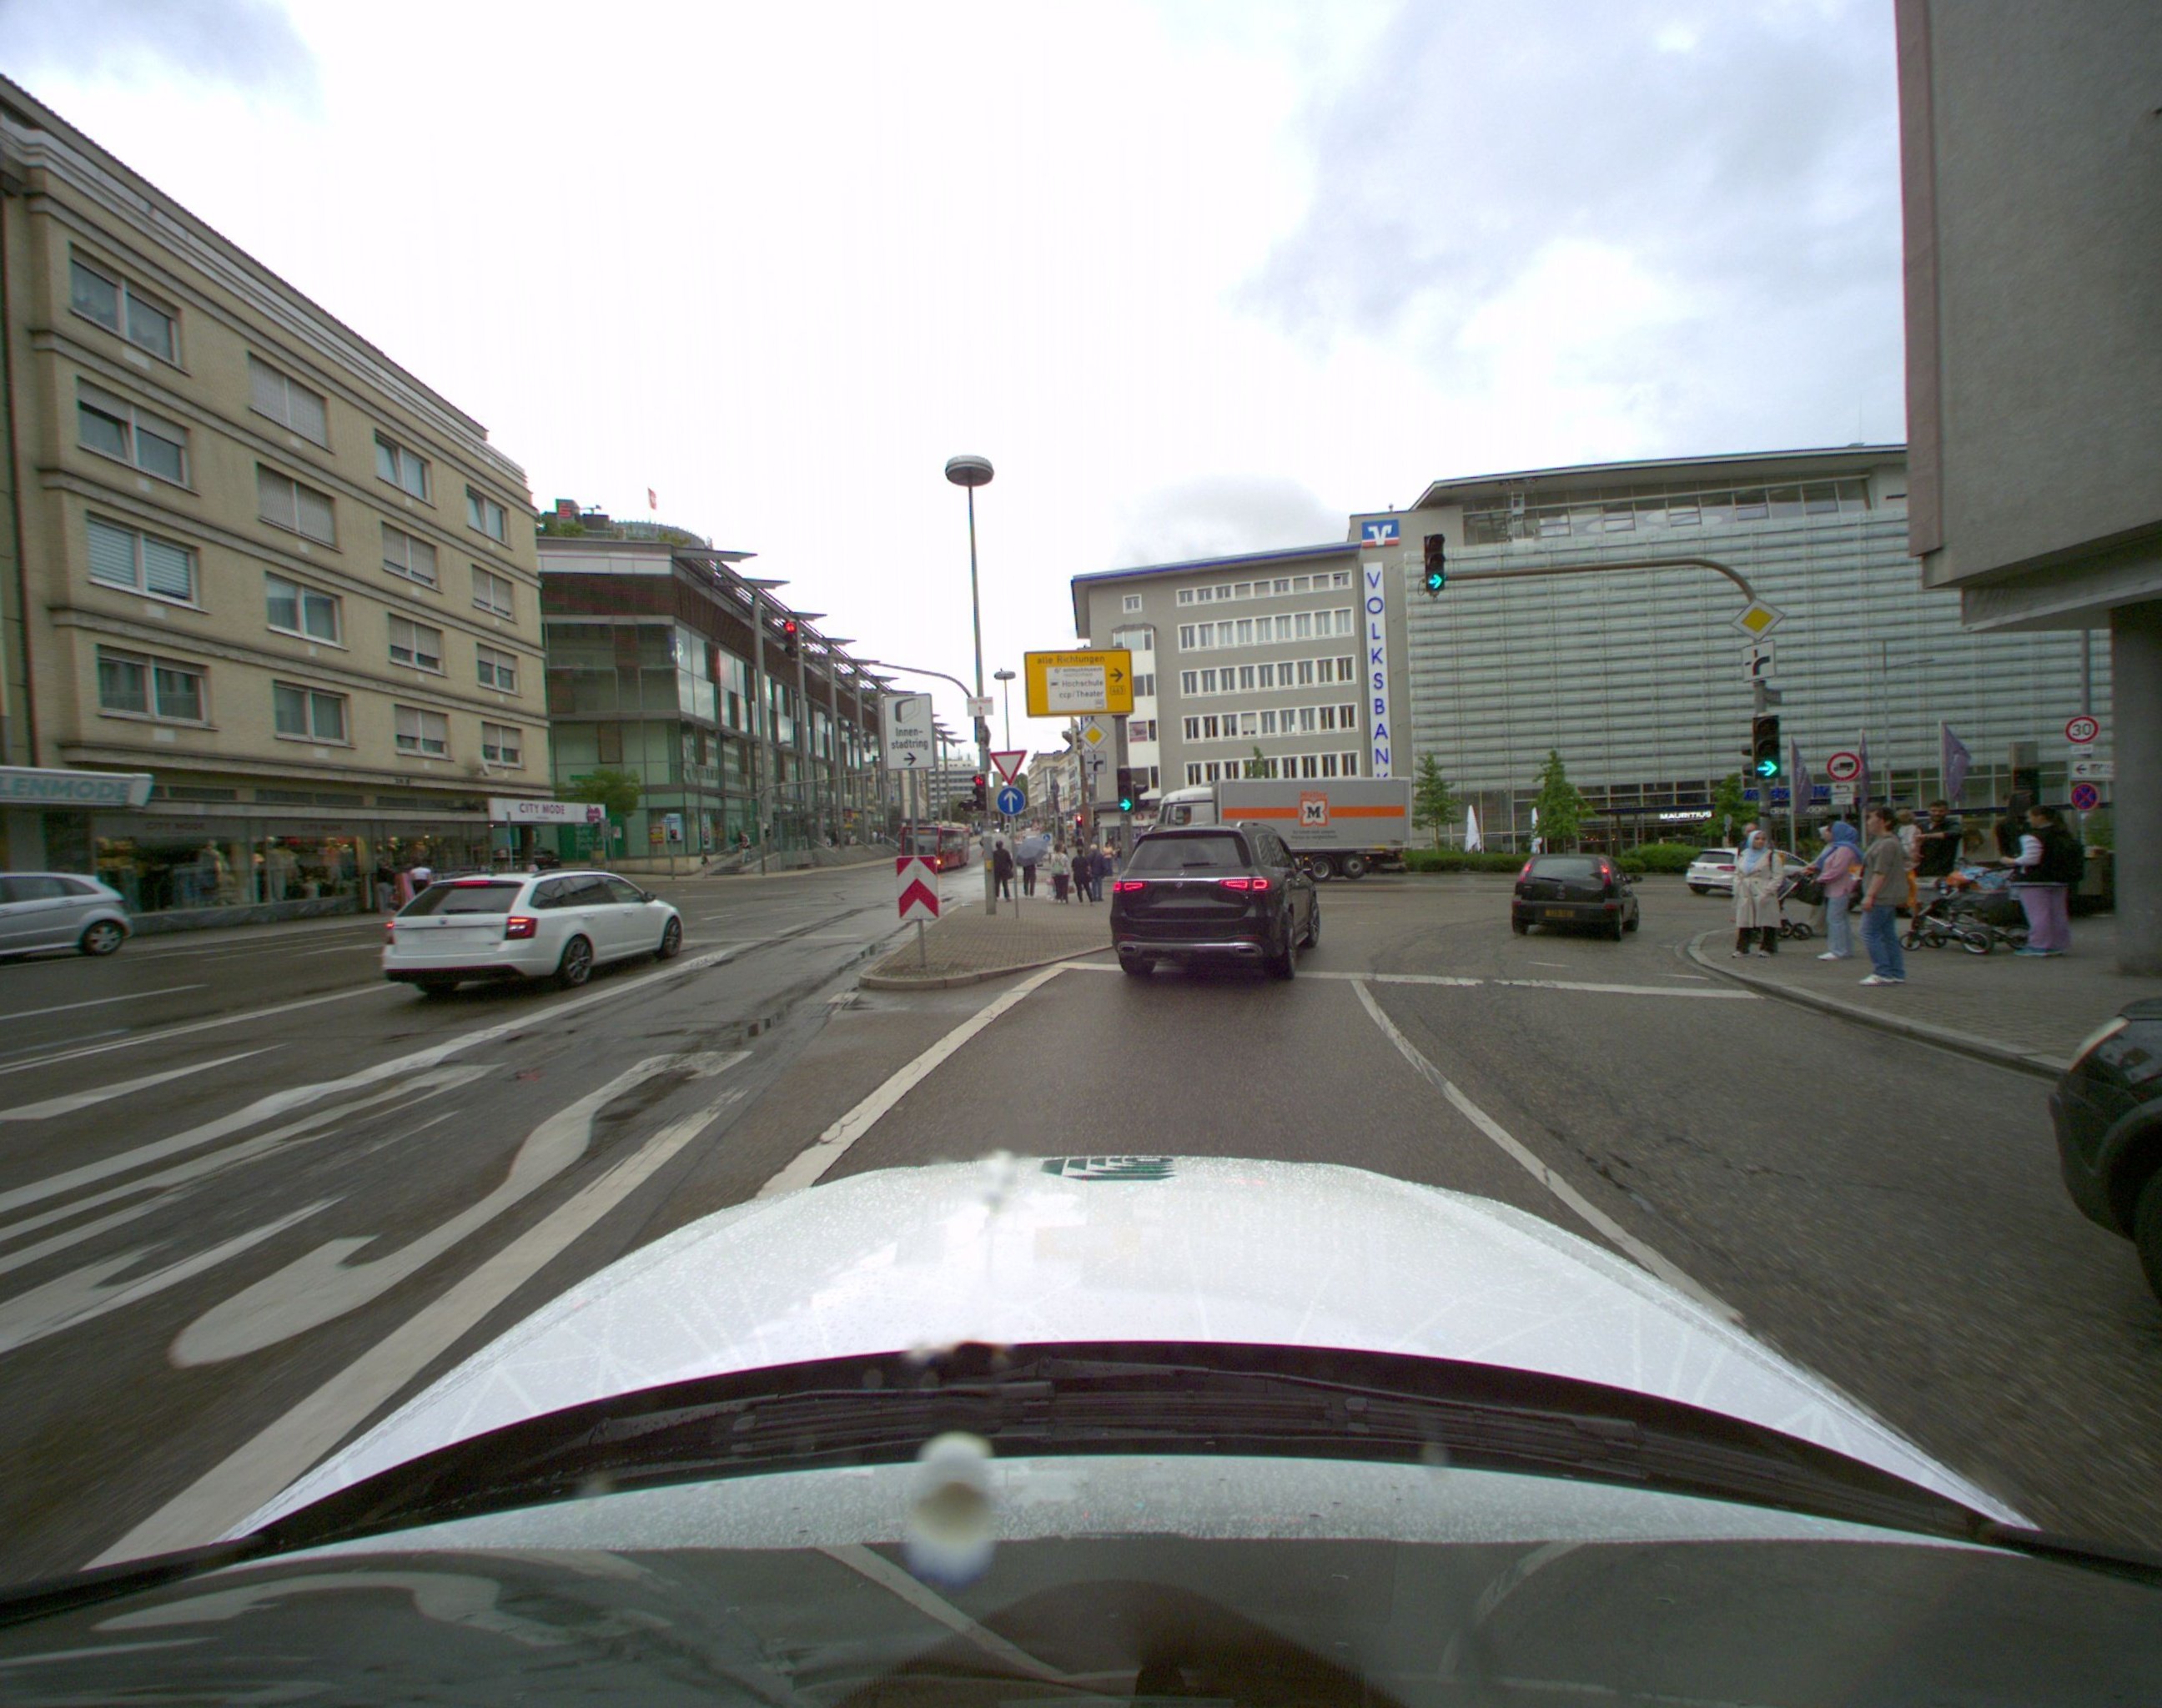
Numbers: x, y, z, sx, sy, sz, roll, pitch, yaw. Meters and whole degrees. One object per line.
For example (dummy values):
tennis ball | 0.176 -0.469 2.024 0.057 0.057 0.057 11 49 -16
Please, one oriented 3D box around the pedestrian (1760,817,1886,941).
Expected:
pedestrian | 10.946 0.360 12.063 1.028 1.722 0.841 -4 0 14

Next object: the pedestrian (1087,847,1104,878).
pedestrian | 0.638 0.375 36.045 0.629 1.339 0.586 0 0 -8

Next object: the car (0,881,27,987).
car | -15.793 1.155 9.104 1.779 1.445 4.754 -1 1 0

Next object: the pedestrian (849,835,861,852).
pedestrian | -23.538 -1.098 84.782 1.038 1.713 1.005 -1 0 -8

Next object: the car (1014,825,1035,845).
car | -10.000 -3.341 144.657 2.431 3.465 6.167 0 1 8

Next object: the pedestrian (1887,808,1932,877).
pedestrian | 10.510 -0.146 10.333 0.218 0.847 0.443 0 0 18

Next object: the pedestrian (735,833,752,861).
pedestrian | -23.988 -0.483 57.889 0.873 1.980 0.849 -1 0 -3

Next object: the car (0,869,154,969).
car | -18.869 1.126 13.589 1.843 1.550 4.396 0 1 -3

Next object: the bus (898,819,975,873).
bus | -10.137 -0.551 59.661 2.912 3.320 18.464 -1 0 -2

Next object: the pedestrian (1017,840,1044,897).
pedestrian | -1.526 0.444 24.612 0.753 1.692 0.694 0 -1 2

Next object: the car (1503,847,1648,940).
car | 9.000 0.643 14.685 1.700 1.420 3.793 1 0 39

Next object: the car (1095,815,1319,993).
car | 1.951 0.447 10.875 2.070 1.816 4.817 0 1 19

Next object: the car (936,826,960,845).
car | -14.743 -2.041 90.556 2.239 2.034 5.347 0 1 -6

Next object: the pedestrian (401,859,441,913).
pedestrian | -20.337 0.962 25.088 0.765 1.628 0.850 -1 0 44

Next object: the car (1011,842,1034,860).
car | -5.100 -0.276 71.293 1.732 1.527 3.998 0 1 -1

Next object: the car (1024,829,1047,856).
car | -5.218 -1.274 93.196 2.440 2.957 6.143 0 1 -5

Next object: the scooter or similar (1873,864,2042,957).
scooter or similar | 10.263 0.654 9.587 0.768 0.986 1.047 -3 -3 -3

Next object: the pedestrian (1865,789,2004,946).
pedestrian | 10.821 0.178 10.356 0.832 1.865 0.658 -5 -3 1

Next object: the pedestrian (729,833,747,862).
pedestrian | -23.977 -0.478 56.926 0.879 1.980 0.974 -1 0 -3

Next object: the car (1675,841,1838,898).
car | 20.711 0.415 25.004 3.995 1.573 1.946 -1 2 -16

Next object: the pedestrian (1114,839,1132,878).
pedestrian | 1.862 0.201 36.028 0.777 1.689 0.640 0 0 6

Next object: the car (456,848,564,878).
car | -30.227 0.468 43.249 4.287 1.546 1.798 0 1 -13

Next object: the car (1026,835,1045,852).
car | -4.857 -1.102 86.652 1.858 1.826 4.097 0 1 -5

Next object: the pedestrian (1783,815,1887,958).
pedestrian | 9.066 0.400 9.823 0.736 1.635 0.600 -7 -4 39

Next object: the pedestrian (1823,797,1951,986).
pedestrian | 7.681 0.348 7.803 0.620 1.692 0.787 -4 -2 33

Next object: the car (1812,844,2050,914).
car | 20.885 0.565 20.134 3.977 1.573 1.955 0 2 -3

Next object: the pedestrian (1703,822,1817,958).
pedestrian | 8.701 0.463 10.472 0.538 1.637 0.837 -5 -3 -3

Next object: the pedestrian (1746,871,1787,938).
pedestrian | 10.704 0.779 12.724 0.258 0.999 0.474 -7 -2 20

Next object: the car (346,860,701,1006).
car | -7.091 0.867 11.115 1.788 1.415 4.626 -2 1 -3

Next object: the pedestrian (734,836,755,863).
pedestrian | -21.984 -0.284 53.220 1.038 1.713 1.005 -1 0 -8

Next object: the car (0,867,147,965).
car | -18.797 1.074 13.573 1.696 1.563 4.198 -1 1 -3

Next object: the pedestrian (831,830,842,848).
pedestrian | -22.509 -1.381 74.915 0.827 1.713 0.800 -1 0 -8

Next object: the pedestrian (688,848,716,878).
pedestrian | -22.113 0.511 47.564 1.029 1.713 1.013 -1 0 25

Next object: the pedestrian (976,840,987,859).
pedestrian | -10.056 -0.438 82.494 0.950 1.886 0.811 0 0 4

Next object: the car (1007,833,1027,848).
car | -8.027 -1.720 102.870 2.417 1.780 5.149 0 1 -3

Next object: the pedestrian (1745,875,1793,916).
pedestrian | 10.354 0.626 12.267 0.368 0.571 0.460 -4 -1 17

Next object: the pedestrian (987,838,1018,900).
pedestrian | -2.186 0.407 22.747 0.780 1.711 0.707 0 -1 2

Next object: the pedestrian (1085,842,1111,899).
pedestrian | 0.485 0.452 22.980 0.710 1.568 0.855 0 -1 2

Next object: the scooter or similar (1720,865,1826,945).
scooter or similar | 10.368 0.750 12.235 0.962 1.109 0.658 -4 -1 16

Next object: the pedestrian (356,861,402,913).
pedestrian | -21.420 0.991 24.868 0.783 1.536 0.680 -1 0 -5

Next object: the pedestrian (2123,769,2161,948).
pedestrian | 11.640 0.047 8.479 0.667 1.866 0.832 -1 0 -23

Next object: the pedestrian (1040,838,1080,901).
pedestrian | -0.559 0.411 21.967 0.974 1.672 0.916 0 0 3

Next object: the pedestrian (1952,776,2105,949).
pedestrian | 11.127 0.101 9.599 0.814 1.931 0.733 -3 -1 5

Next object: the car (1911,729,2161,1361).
car | 3.910 0.564 0.837 1.899 1.785 4.306 -1 1 3

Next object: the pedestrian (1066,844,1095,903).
pedestrian | -0.007 0.504 21.102 0.702 1.488 0.560 0 -1 2

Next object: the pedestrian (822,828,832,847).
pedestrian | -23.318 -1.479 74.797 0.680 1.713 0.848 -1 0 -8

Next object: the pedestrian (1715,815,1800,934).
pedestrian | 11.189 0.346 13.506 0.611 1.867 0.790 -5 -4 13

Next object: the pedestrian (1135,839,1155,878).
pedestrian | 2.918 0.190 37.224 0.829 1.778 0.616 0 0 -9

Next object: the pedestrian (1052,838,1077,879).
pedestrian | -0.743 0.200 36.359 1.009 1.787 0.851 0 0 -9

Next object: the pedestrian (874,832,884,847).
pedestrian | -23.857 -1.683 96.207 0.937 1.713 0.989 -1 0 -8

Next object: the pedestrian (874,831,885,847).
pedestrian | -22.462 -1.639 90.912 1.038 1.713 1.005 -1 0 -8

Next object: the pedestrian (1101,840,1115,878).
pedestrian | 1.198 0.211 36.017 0.566 1.668 0.502 -1 0 4

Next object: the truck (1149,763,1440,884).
truck | 8.179 -1.161 32.181 10.697 4.333 2.856 -1 0 1

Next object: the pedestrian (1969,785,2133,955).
pedestrian | 10.382 0.177 8.746 0.831 1.723 0.618 -3 -3 5
